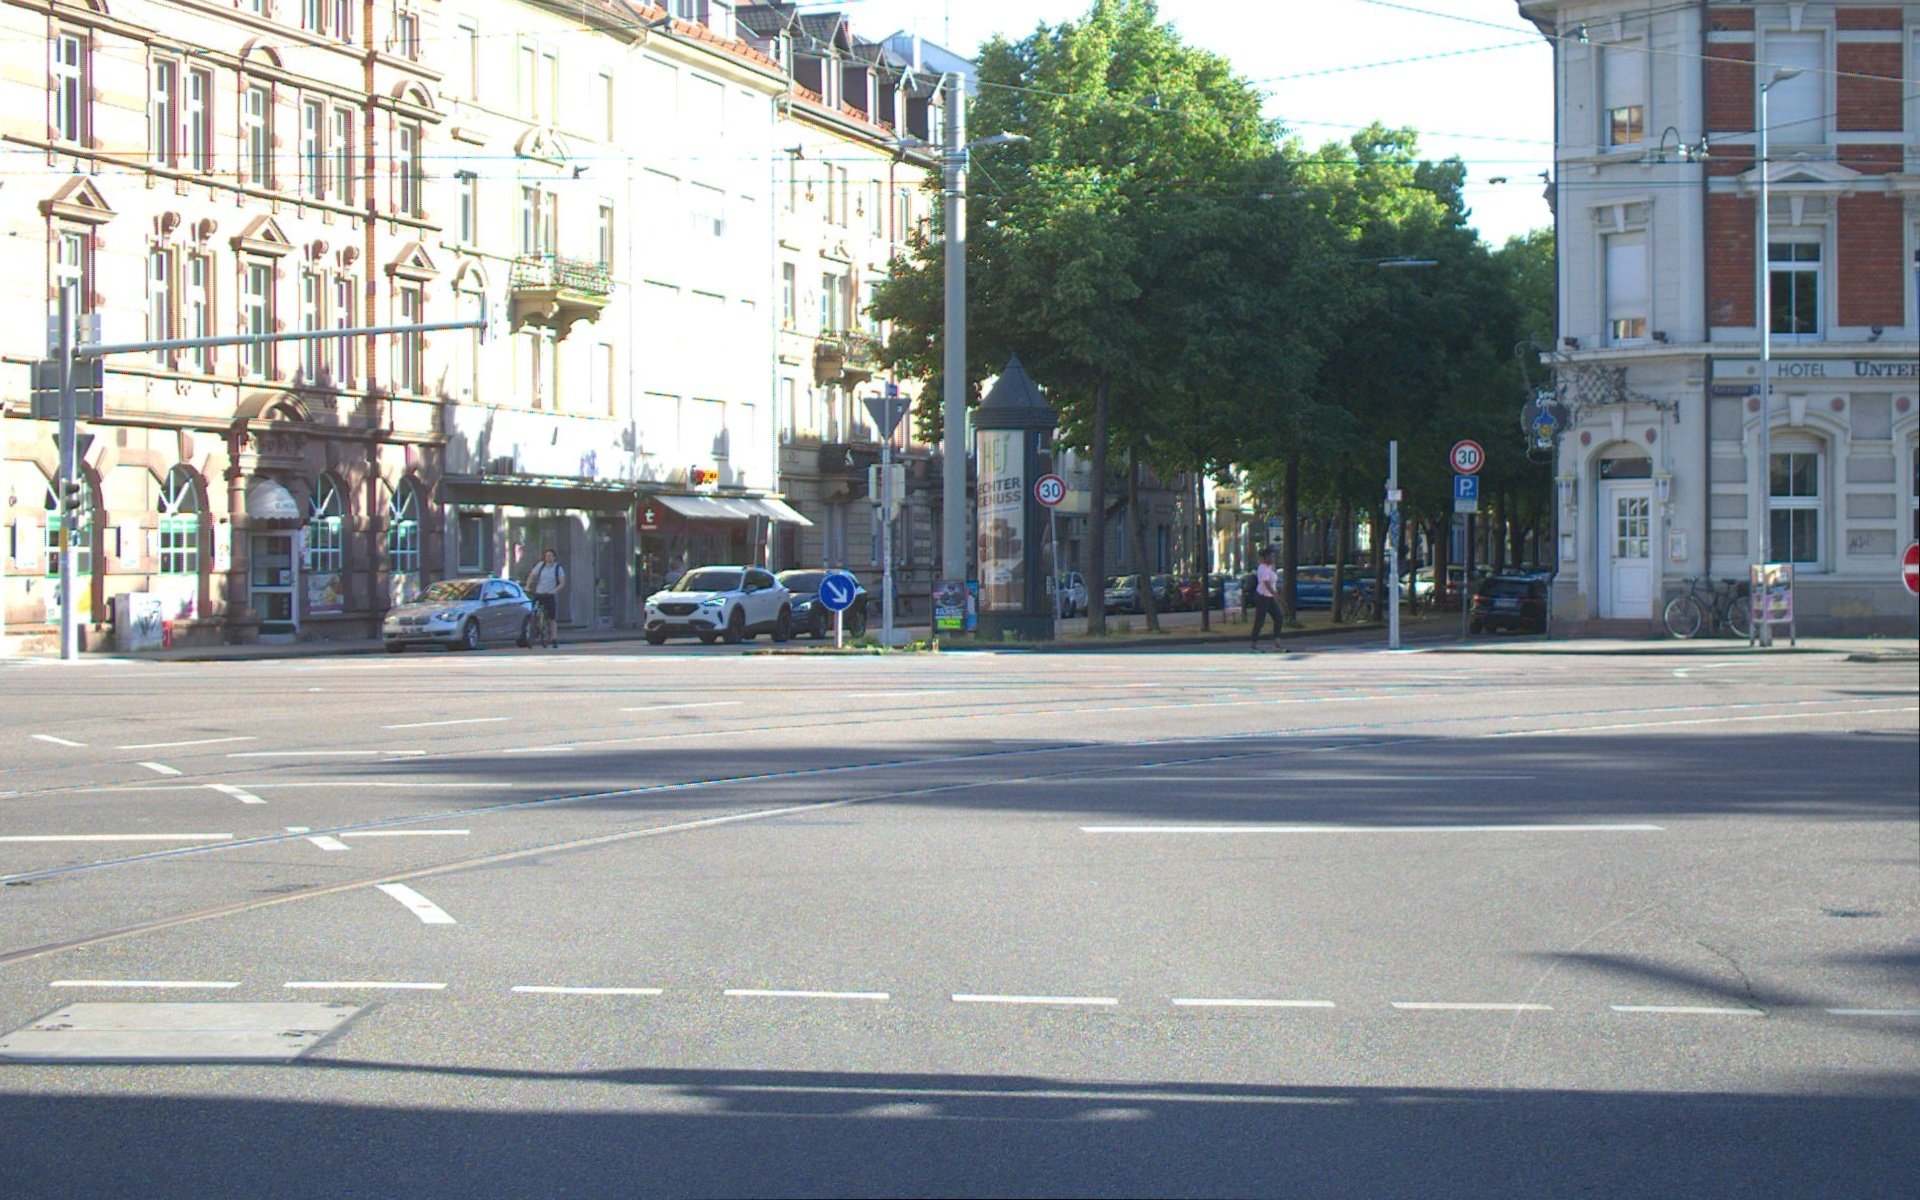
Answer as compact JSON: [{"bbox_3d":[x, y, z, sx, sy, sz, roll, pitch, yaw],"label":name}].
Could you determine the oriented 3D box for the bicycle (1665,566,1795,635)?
[{"bbox_3d":[12.855,0.009,57.401,2.085,1.120,0.367,1,0,-4],"label":"bicycle"}]

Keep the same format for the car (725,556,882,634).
[{"bbox_3d":[-3.320,-0.136,73.850,1.995,1.606,4.387,0,1,17],"label":"car"}]

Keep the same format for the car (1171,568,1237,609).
[{"bbox_3d":[9.697,-0.468,136.343,1.766,1.544,4.387,0,1,16],"label":"car"}]

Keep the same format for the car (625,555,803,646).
[{"bbox_3d":[-4.765,-0.018,67.336,1.995,1.678,4.387,0,1,17],"label":"car"}]

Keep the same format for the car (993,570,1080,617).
[{"bbox_3d":[2.485,-0.223,110.974,1.995,1.481,3.998,0,1,14],"label":"car"}]

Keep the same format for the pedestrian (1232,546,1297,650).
[{"bbox_3d":[5.100,-0.037,57.579,1.046,1.738,0.808,0,1,8],"label":"pedestrian"}]

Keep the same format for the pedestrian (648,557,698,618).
[{"bbox_3d":[-7.257,-0.317,87.014,0.929,1.530,1.136,0,1,14],"label":"pedestrian"}]

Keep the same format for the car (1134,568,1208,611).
[{"bbox_3d":[8.031,-0.418,130.466,1.839,1.547,4.387,0,1,17],"label":"car"}]

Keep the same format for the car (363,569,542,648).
[{"bbox_3d":[-9.854,0.147,67.061,1.900,1.450,3.997,0,1,17],"label":"car"}]

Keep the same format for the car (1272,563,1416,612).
[{"bbox_3d":[12.902,-0.438,115.412,4.382,1.606,1.997,0,1,27],"label":"car"}]

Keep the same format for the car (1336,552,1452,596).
[{"bbox_3d":[16.859,-1.014,133.636,3.993,1.700,1.997,0,1,30],"label":"car"}]

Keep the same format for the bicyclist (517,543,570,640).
[{"bbox_3d":[-7.880,-0.164,65.058,0.679,1.814,1.070,0,1,12],"label":"bicyclist"}]

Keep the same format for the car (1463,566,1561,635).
[{"bbox_3d":[13.267,-0.012,82.452,1.995,1.579,3.998,0,1,14],"label":"car"}]

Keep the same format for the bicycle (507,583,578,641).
[{"bbox_3d":[-7.890,0.216,65.022,0.680,1.062,2.124,0,1,12],"label":"bicycle"}]

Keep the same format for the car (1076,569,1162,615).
[{"bbox_3d":[5.704,-0.299,122.676,1.995,1.607,4.387,0,1,17],"label":"car"}]
